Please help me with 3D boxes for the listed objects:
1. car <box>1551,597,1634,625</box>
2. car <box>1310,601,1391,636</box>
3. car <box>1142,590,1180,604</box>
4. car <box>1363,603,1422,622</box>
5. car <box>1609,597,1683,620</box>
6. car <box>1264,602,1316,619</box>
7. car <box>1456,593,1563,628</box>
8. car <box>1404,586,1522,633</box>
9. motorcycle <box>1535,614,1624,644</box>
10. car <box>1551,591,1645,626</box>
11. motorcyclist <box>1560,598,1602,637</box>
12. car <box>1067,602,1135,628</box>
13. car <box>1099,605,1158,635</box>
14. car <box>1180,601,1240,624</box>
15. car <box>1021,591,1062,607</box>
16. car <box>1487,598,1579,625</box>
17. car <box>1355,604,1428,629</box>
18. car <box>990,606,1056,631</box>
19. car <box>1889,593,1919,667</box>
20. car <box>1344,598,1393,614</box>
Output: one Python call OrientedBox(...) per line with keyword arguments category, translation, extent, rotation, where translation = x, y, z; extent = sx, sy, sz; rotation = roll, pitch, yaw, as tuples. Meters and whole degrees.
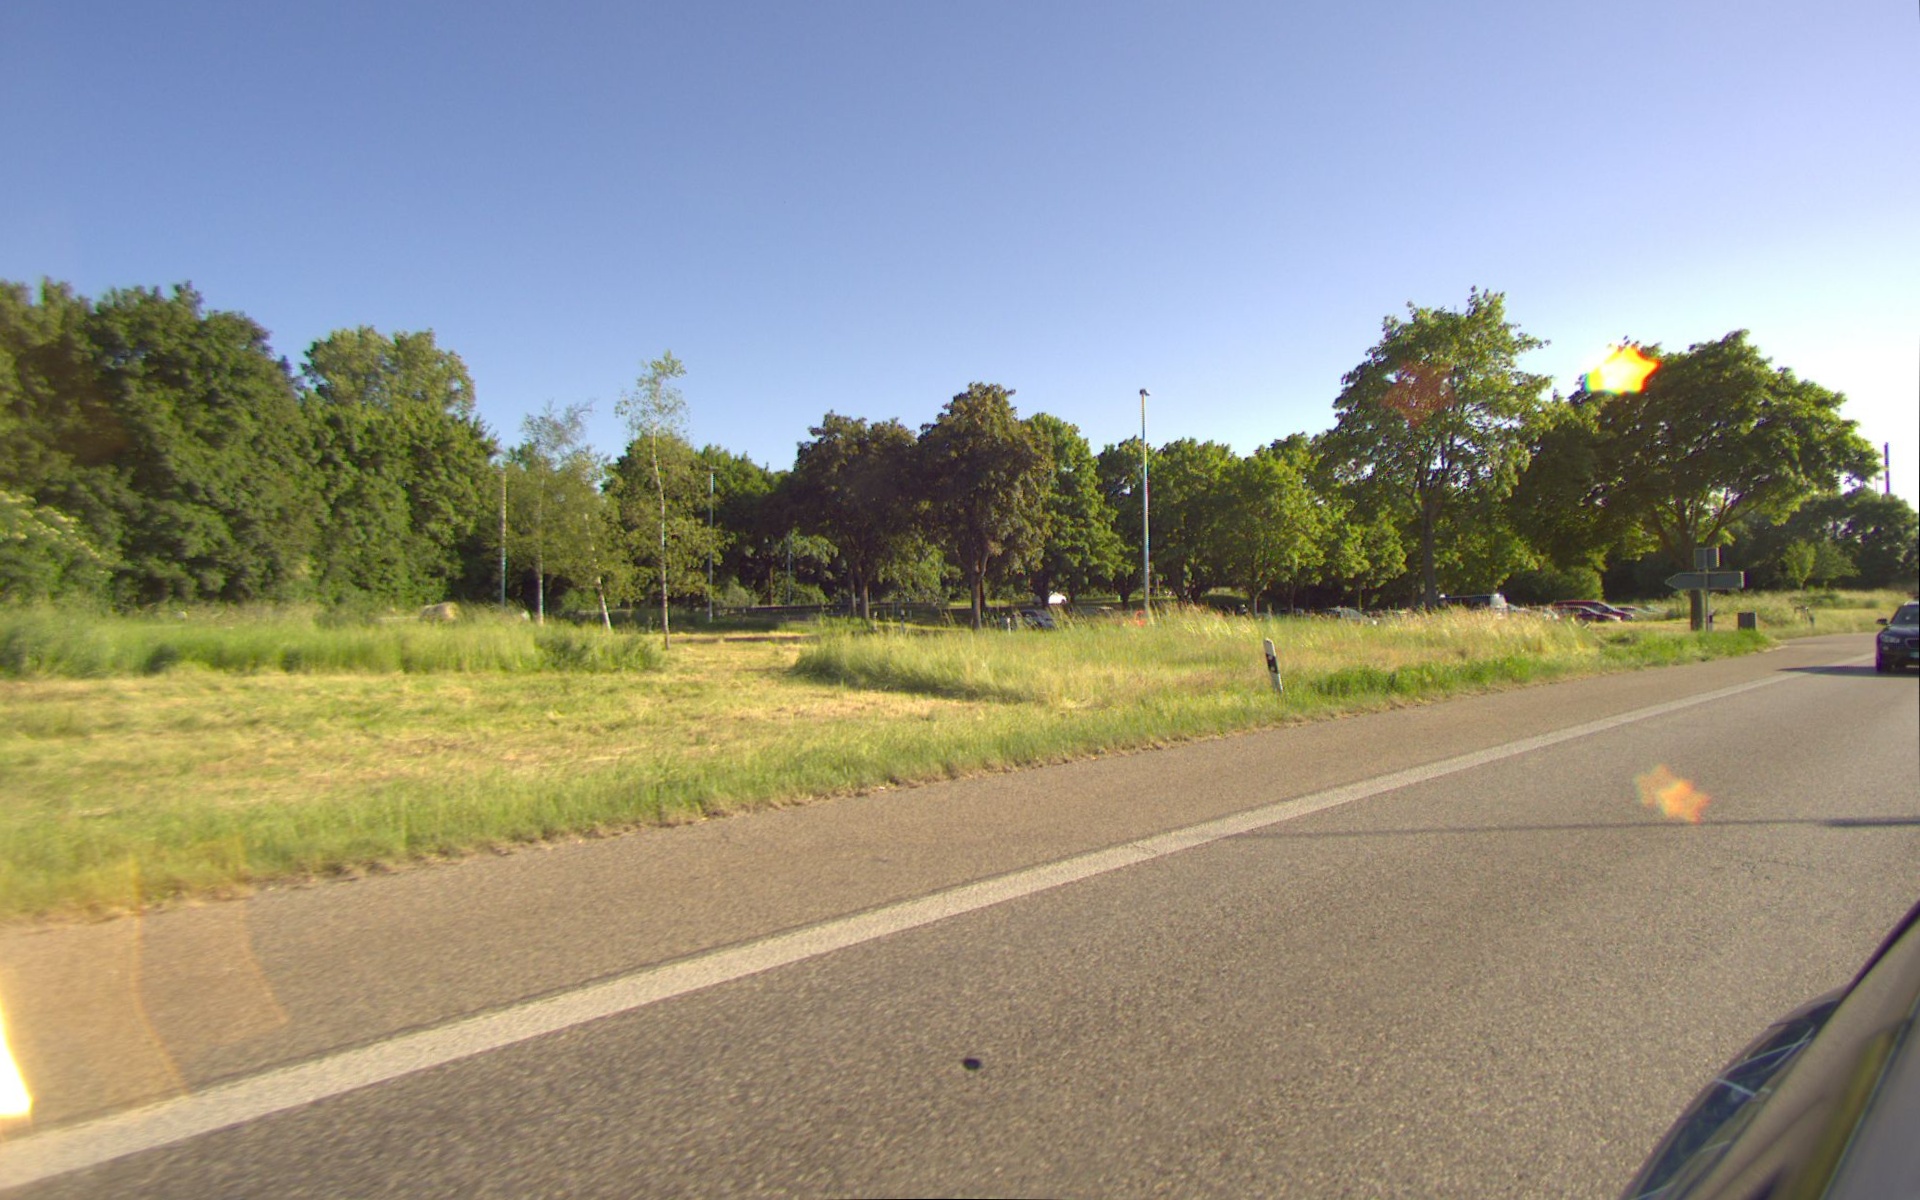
OrientedBox(category="car", translation=(39.813, 0.683, 63.785), extent=(1.927, 1.520, 4.012), rotation=(-1, -2, -41))
OrientedBox(category="car", translation=(19.348, 0.958, 50.393), extent=(1.751, 1.580, 4.232), rotation=(-3, -2, -10))
OrientedBox(category="car", translation=(22.715, -0.302, 114.326), extent=(3.920, 1.597, 1.911), rotation=(0, -1, -31))
OrientedBox(category="car", translation=(35.949, 1.041, 84.217), extent=(1.836, 1.441, 4.114), rotation=(-4, 2, -42))
OrientedBox(category="car", translation=(47.757, 0.608, 70.501), extent=(1.893, 1.478, 3.935), rotation=(-4, 2, -42))
OrientedBox(category="car", translation=(30.344, 0.986, 93.192), extent=(1.836, 1.441, 4.114), rotation=(-4, 2, -42))
OrientedBox(category="car", translation=(31.005, 0.587, 57.179), extent=(2.188, 1.700, 4.856), rotation=(-1, -2, -44))
OrientedBox(category="car", translation=(26.191, 0.521, 52.888), extent=(2.053, 2.163, 5.050), rotation=(-2, -2, -33))
OrientedBox(category="motorcycle", translation=(23.509, 1.091, 38.415), extent=(2.785, 1.083, 0.818), rotation=(-1, 0, 4))
OrientedBox(category="car", translation=(41.336, 0.567, 65.660), extent=(1.993, 2.048, 4.794), rotation=(-4, 2, -42))
OrientedBox(category="motorcyclist", translation=(23.566, 0.668, 38.411), extent=(1.074, 1.466, 0.818), rotation=(-1, 0, 4))
OrientedBox(category="car", translation=(10.777, 1.141, 77.465), extent=(1.923, 1.889, 5.199), rotation=(-1, 1, -41))
OrientedBox(category="car", translation=(9.049, 1.065, 54.119), extent=(1.690, 1.482, 4.101), rotation=(-2, -1, 32))
OrientedBox(category="car", translation=(21.175, 1.032, 85.914), extent=(4.583, 1.798, 1.917), rotation=(0, 2, 43))
OrientedBox(category="car", translation=(8.297, -0.057, 102.998), extent=(3.924, 1.597, 1.910), rotation=(0, -1, -35))
OrientedBox(category="car", translation=(33.288, 0.683, 58.847), extent=(1.927, 1.327, 4.217), rotation=(-1, -2, -41))
OrientedBox(category="car", translation=(29.805, 1.153, 69.980), extent=(1.711, 1.530, 4.287), rotation=(-2, -2, -42))
OrientedBox(category="car", translation=(4.247, 1.222, 68.302), extent=(4.169, 1.580, 1.777), rotation=(-1, -1, 18))
OrientedBox(category="car", translation=(21.679, 0.618, 21.981), extent=(4.498, 1.525, 1.702), rotation=(0, 1, -41))
OrientedBox(category="car", translation=(41.174, 0.581, 102.009), extent=(1.836, 1.441, 4.114), rotation=(-4, 2, -42))
